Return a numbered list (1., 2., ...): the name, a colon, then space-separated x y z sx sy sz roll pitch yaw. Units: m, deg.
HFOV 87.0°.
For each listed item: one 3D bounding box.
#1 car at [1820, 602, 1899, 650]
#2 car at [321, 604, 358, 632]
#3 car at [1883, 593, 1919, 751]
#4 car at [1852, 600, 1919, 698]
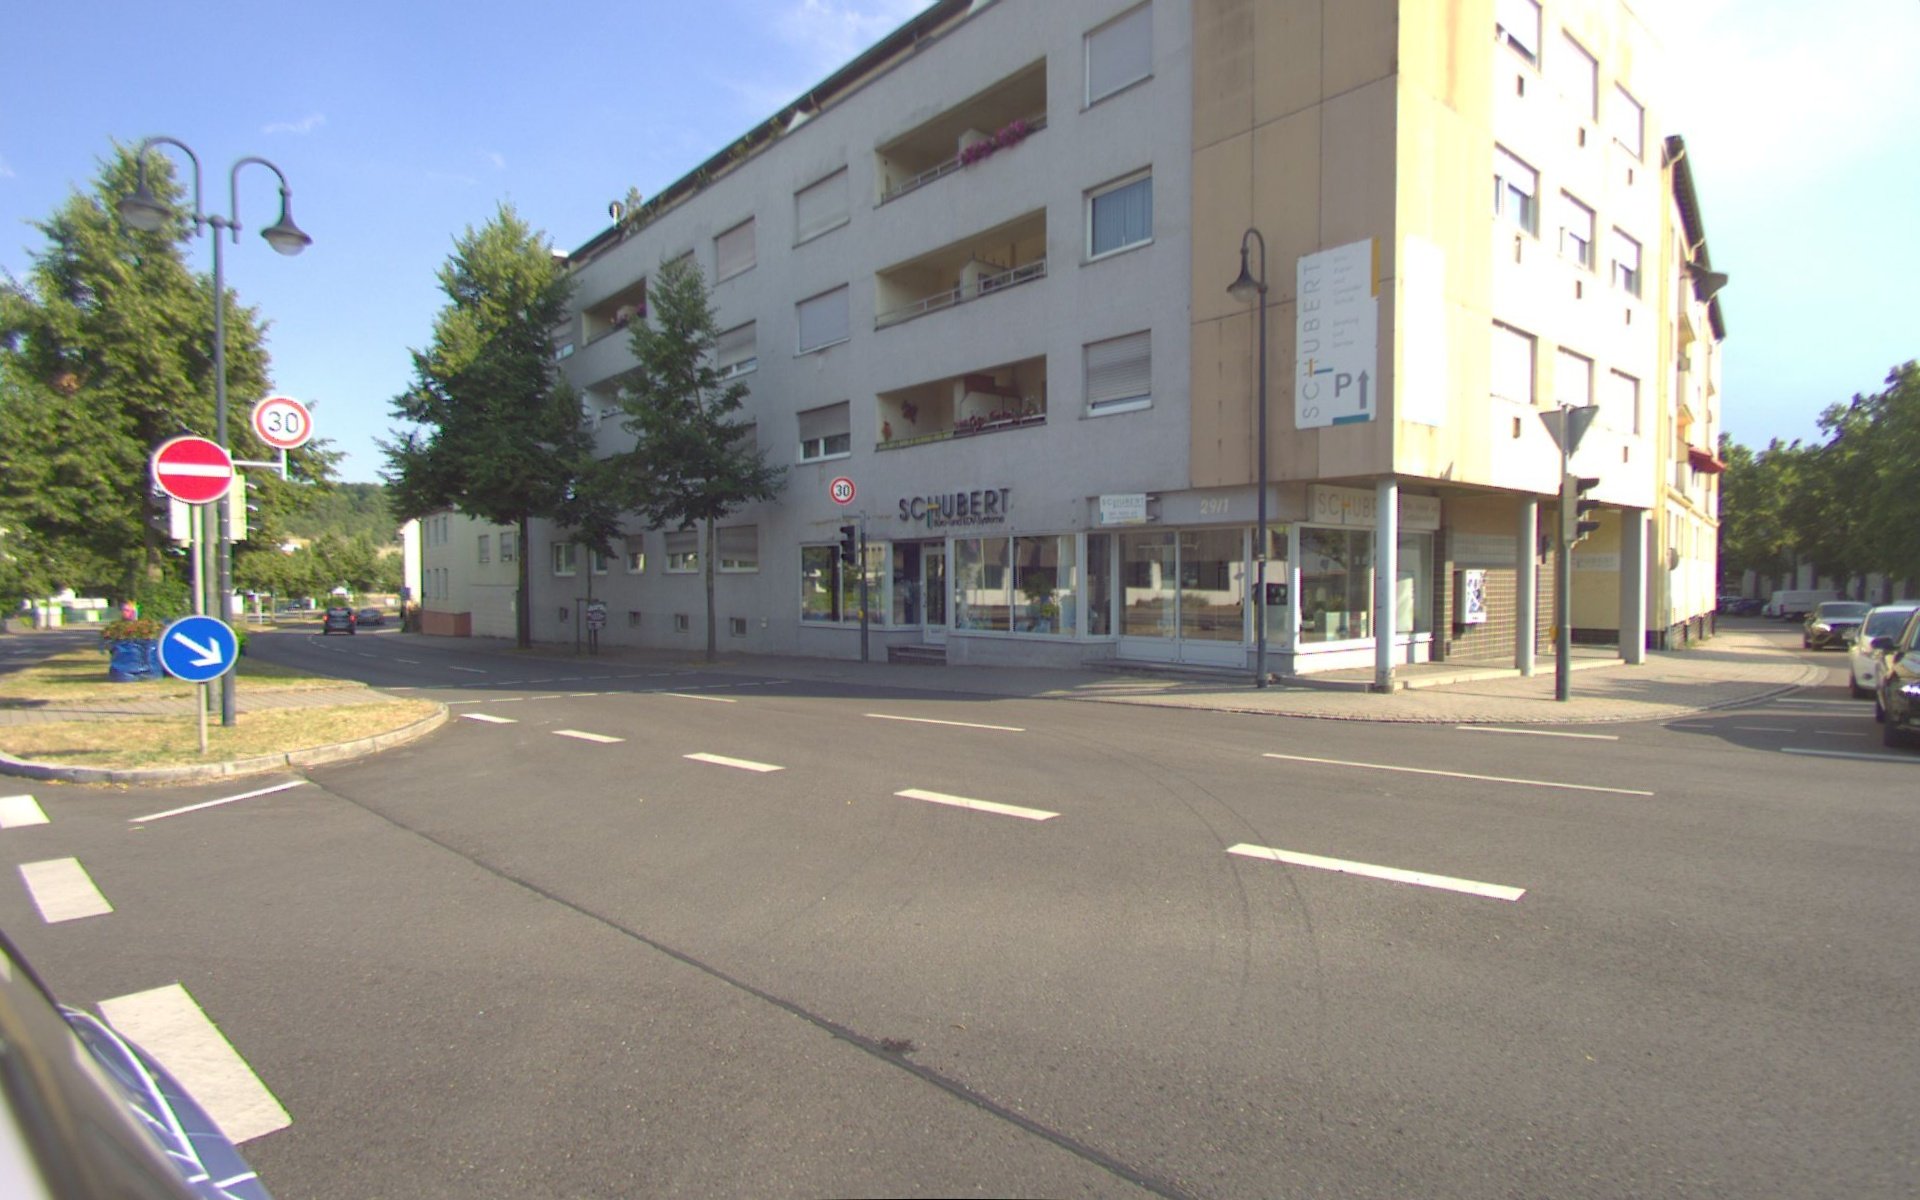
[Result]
1. car: 28.512 0.798 32.166 1.747 1.447 3.544 0 -1 40
2. car: -40.559 1.130 66.226 1.826 1.750 4.938 1 -1 -29
3. car: 11.079 0.686 10.548 1.916 1.447 4.809 0 -1 40
4. car: 15.569 0.745 16.160 1.866 1.447 3.774 0 -1 40
